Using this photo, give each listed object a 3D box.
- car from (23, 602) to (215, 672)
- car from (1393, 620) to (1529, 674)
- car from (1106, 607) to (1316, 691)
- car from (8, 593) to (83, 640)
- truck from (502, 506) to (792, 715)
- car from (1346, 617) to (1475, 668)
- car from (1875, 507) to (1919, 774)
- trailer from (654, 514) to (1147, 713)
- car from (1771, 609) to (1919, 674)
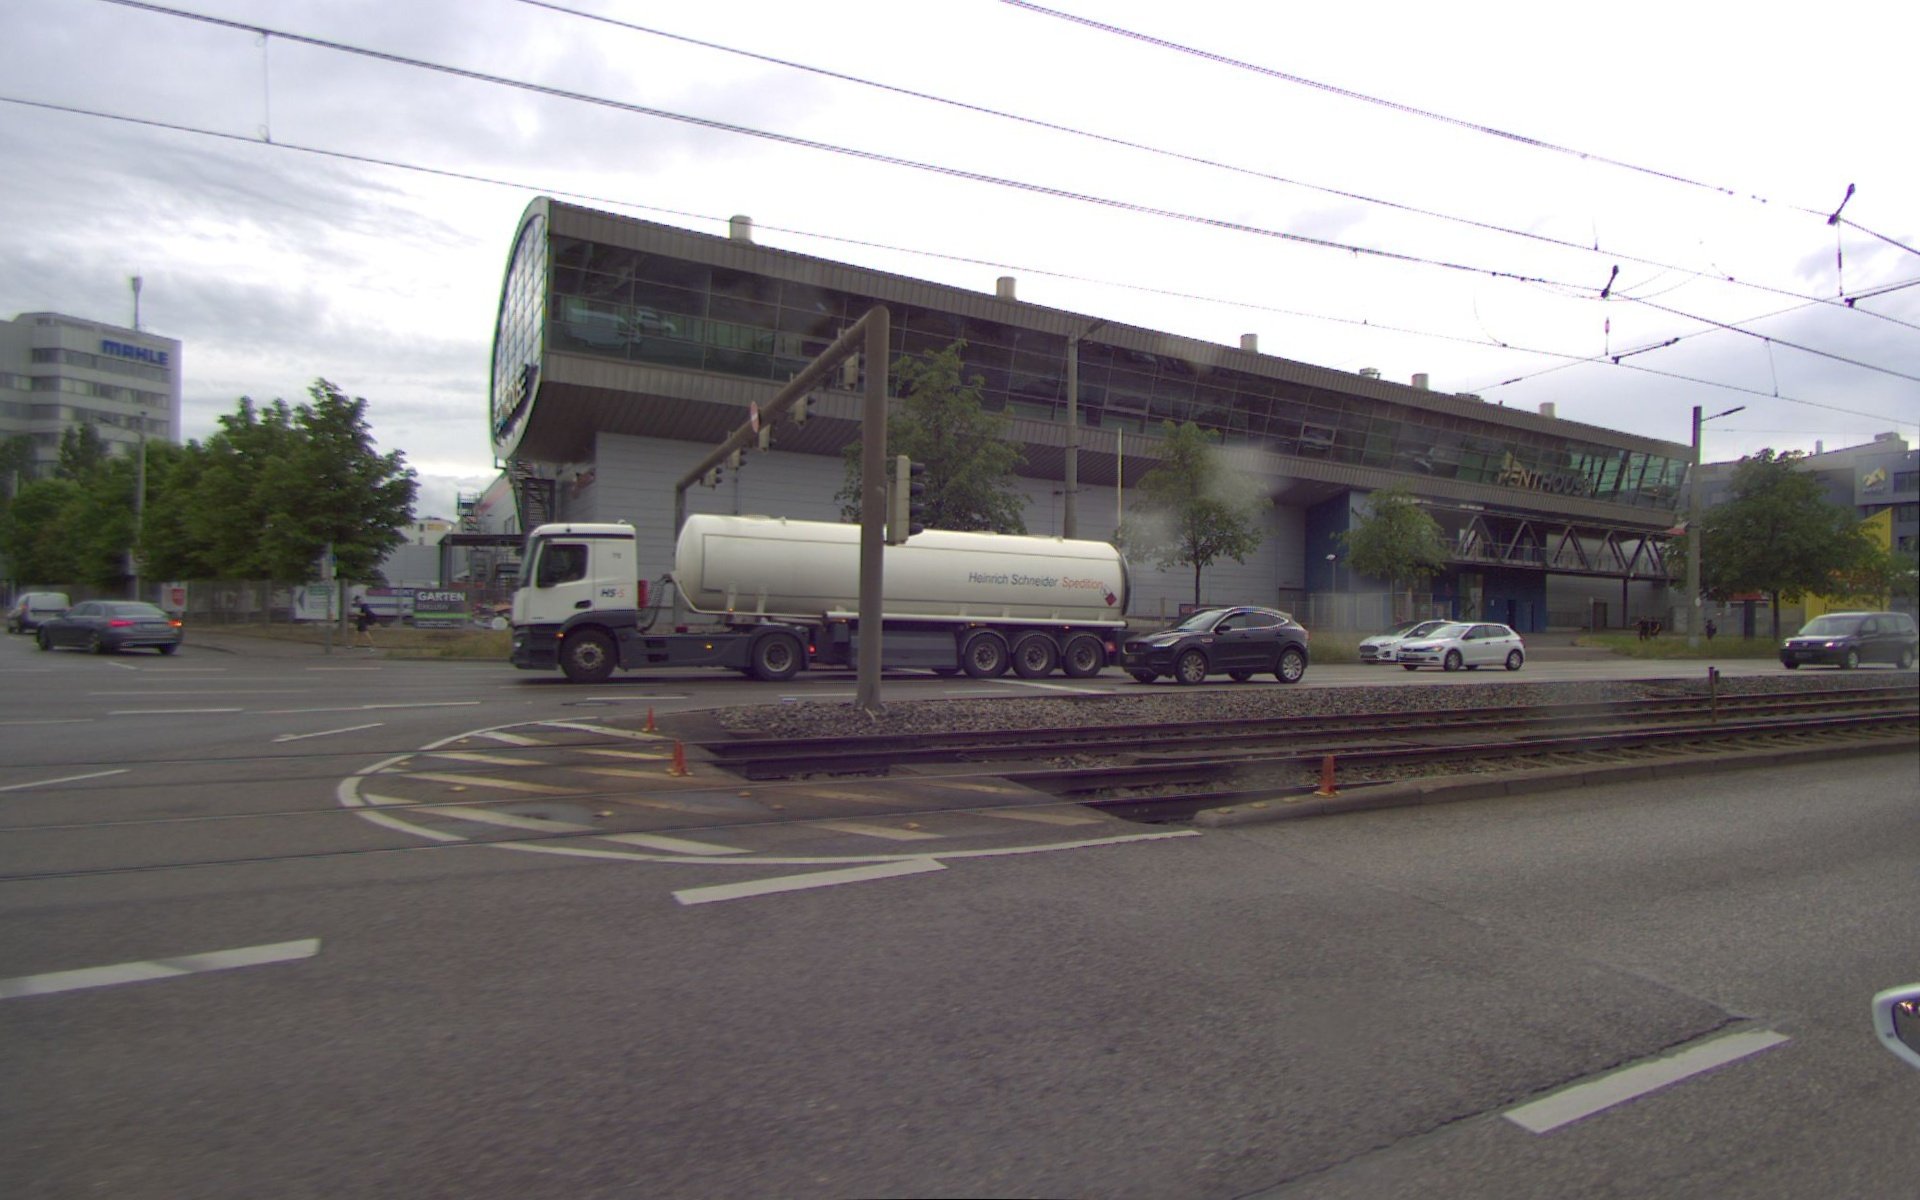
[{"bbox_3d":[-23.165,0.964,27.686,4.553,1.630,2.000,2,1,19],"label":"car"},{"bbox_3d":[15.140,1.420,30.341,3.936,1.530,1.559,1,-1,-25],"label":"car"},{"bbox_3d":[5.494,1.045,21.994,4.138,1.675,1.917,2,0,-24],"label":"car"},{"bbox_3d":[-37.109,0.634,40.735,3.941,1.708,1.847,3,2,41],"label":"car"},{"bbox_3d":[-6.456,0.315,20.830,5.334,3.855,2.740,2,-2,-23],"label":"truck"},{"bbox_3d":[17.087,1.583,38.087,4.665,1.843,1.796,1,0,-23],"label":"car"},{"bbox_3d":[10.914,0.400,9.113,4.845,2.324,2.434,1,0,-29],"label":"car"},{"bbox_3d":[-1.122,0.450,23.135,11.069,3.905,2.719,2,-2,-23],"label":"trailer"},{"bbox_3d":[28.305,1.304,32.049,4.735,1.953,1.796,1,0,-23],"label":"car"}]
